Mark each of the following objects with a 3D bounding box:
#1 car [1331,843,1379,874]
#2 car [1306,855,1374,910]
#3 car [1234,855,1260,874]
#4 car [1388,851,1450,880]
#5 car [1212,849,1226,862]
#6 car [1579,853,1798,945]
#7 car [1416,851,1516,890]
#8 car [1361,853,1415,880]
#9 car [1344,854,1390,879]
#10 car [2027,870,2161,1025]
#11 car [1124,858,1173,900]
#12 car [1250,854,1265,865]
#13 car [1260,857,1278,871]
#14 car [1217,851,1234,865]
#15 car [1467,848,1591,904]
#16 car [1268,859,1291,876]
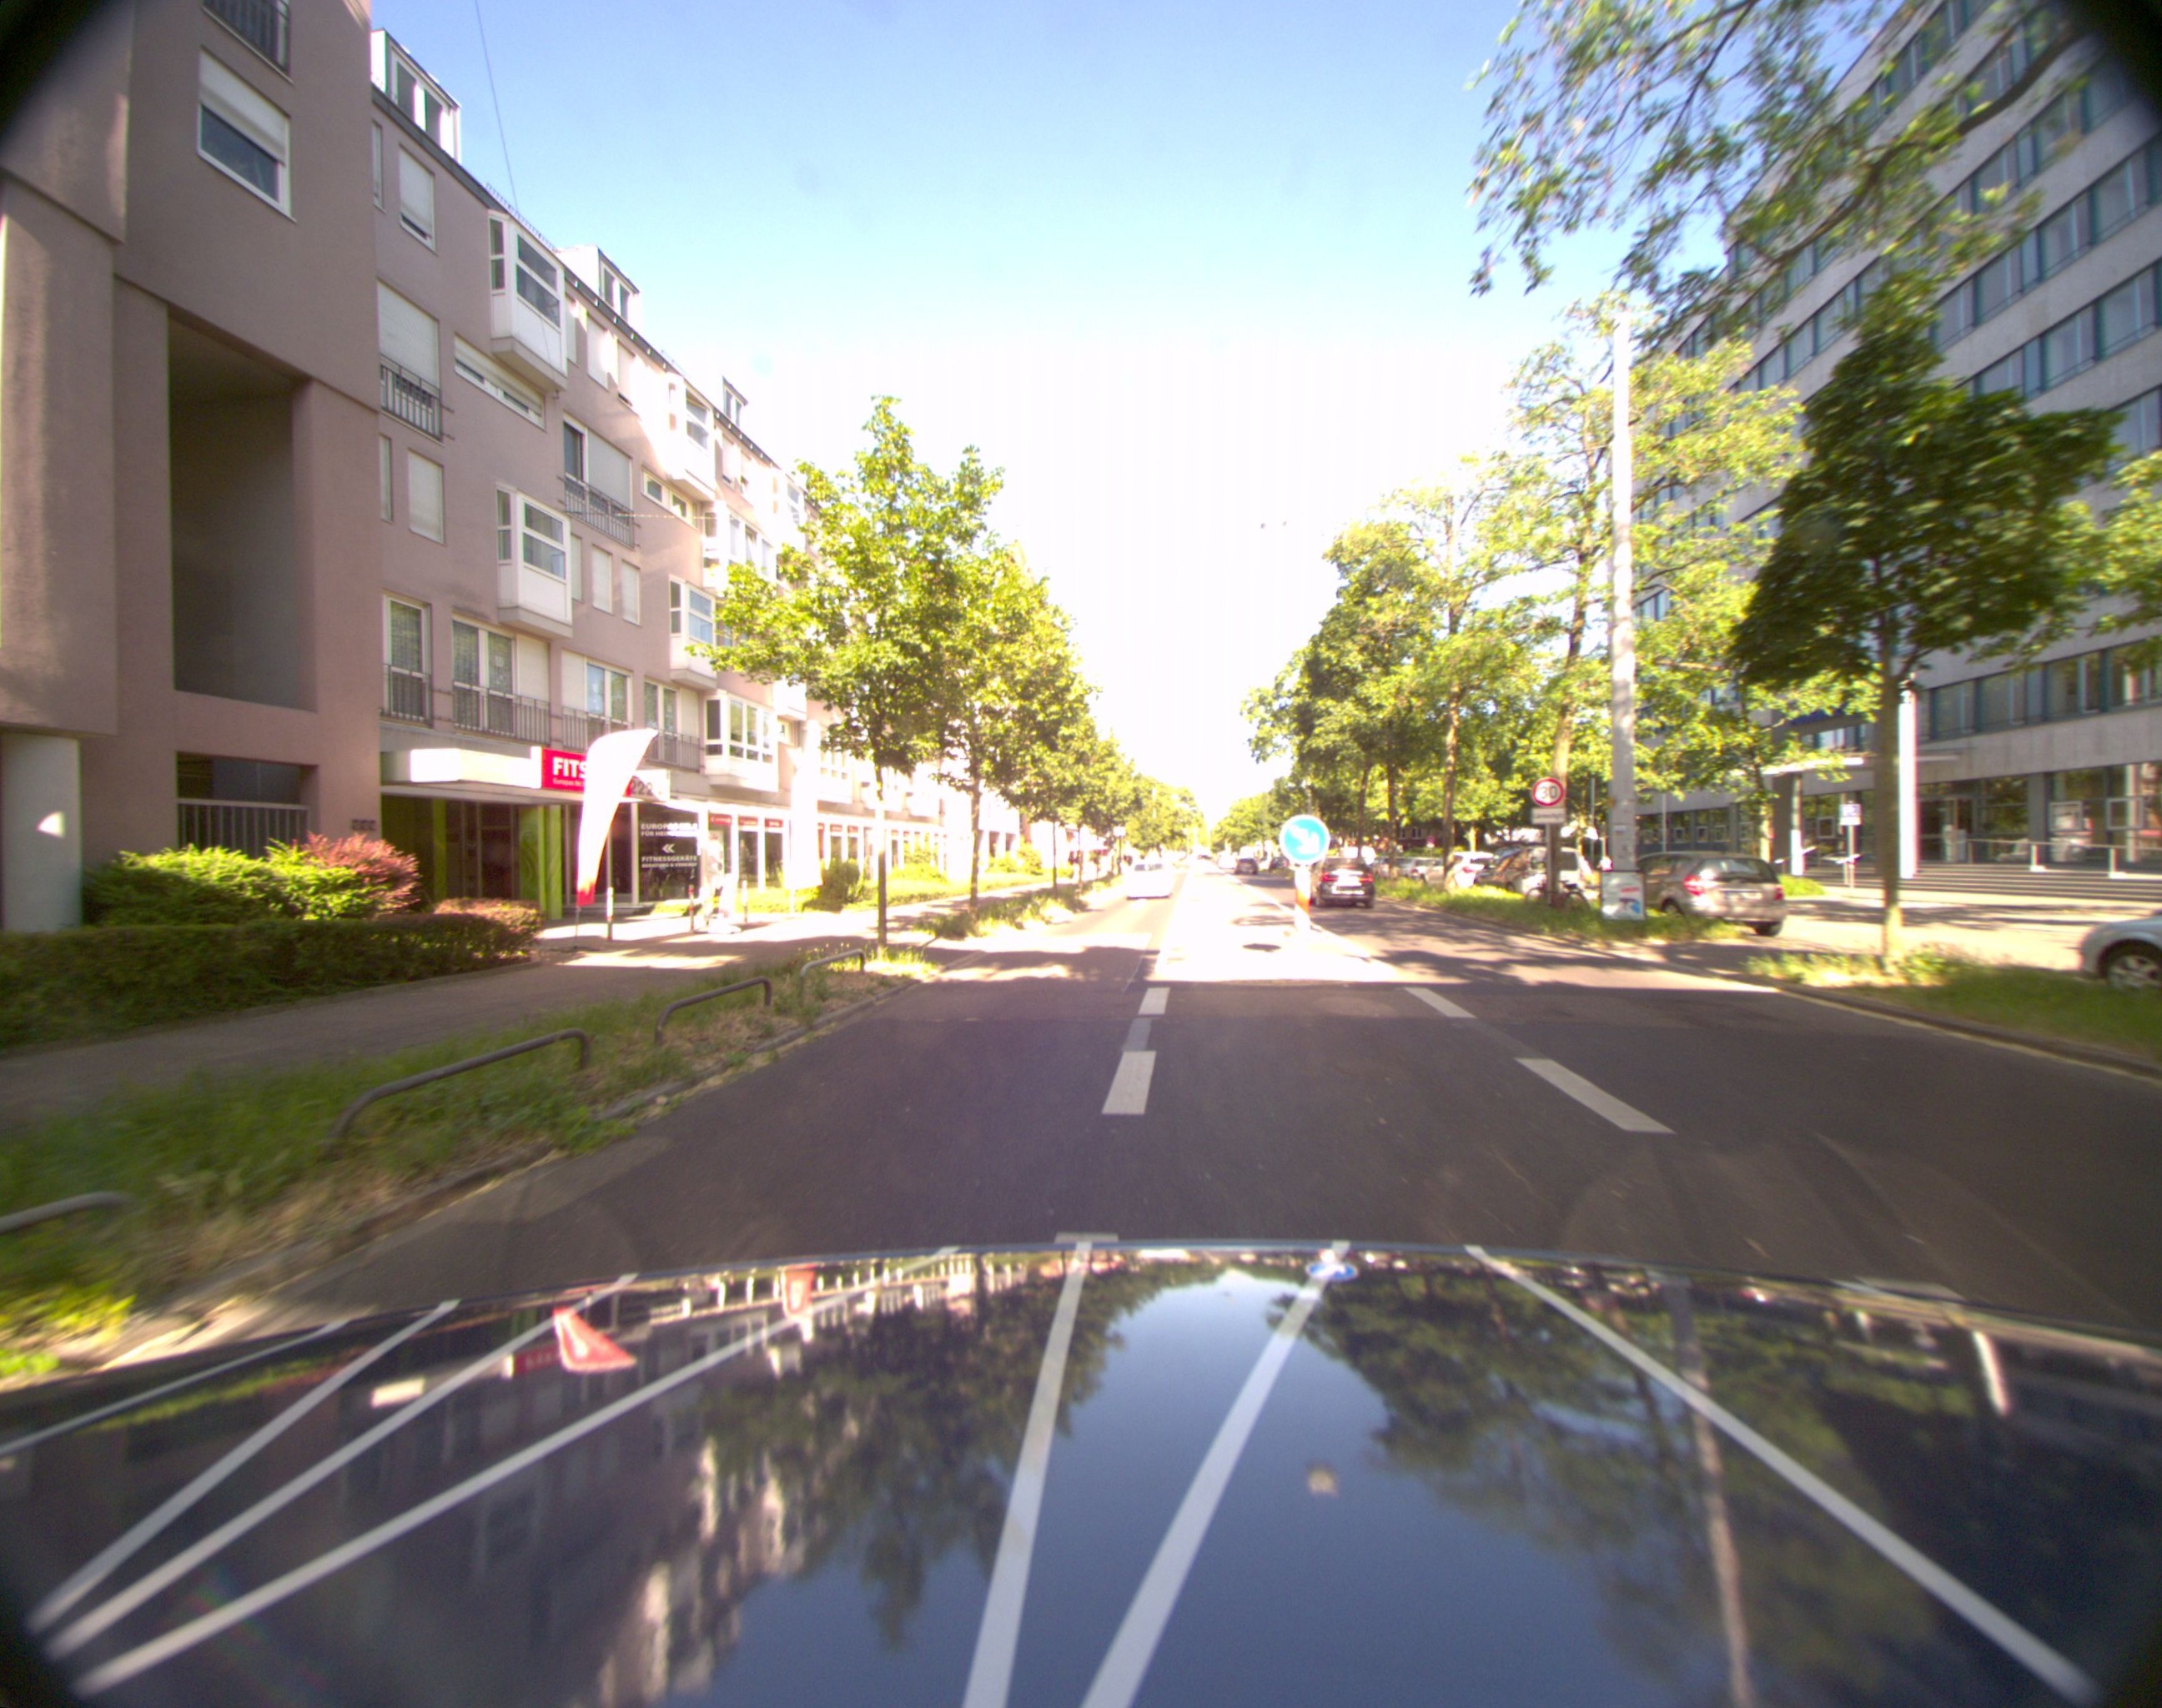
[{"bbox_3d":[17.965,0.293,50.041,2.069,1.898,4.528,-1,0,7],"label":"car"},{"bbox_3d":[7.673,0.795,22.706,1.469,1.518,2.818,0,0,9],"label":"car"},{"bbox_3d":[13.820,0.849,63.467,1.790,1.414,4.191,1,0,8],"label":"car"},{"bbox_3d":[15.099,0.485,34.132,1.654,1.219,3.850,-1,0,10],"label":"car"},{"bbox_3d":[22.448,0.264,123.789,2.168,2.002,4.414,-1,0,10],"label":"car"},{"bbox_3d":[12.297,0.807,15.778,1.776,1.637,4.086,0,0,9],"label":"car"},{"bbox_3d":[14.625,0.579,29.176,1.720,1.375,4.493,-1,0,3],"label":"car"},{"bbox_3d":[15.970,0.629,39.676,1.655,1.336,3.971,-1,0,7],"label":"car"},{"bbox_3d":[16.808,0.709,44.824,1.678,1.325,4.191,-1,0,9],"label":"car"},{"bbox_3d":[10.943,0.945,6.078,1.655,1.440,4.284,3,1,7],"label":"car"},{"bbox_3d":[2.713,0.929,29.866,1.662,1.521,4.102,-1,0,8],"label":"car"},{"bbox_3d":[22.678,0.719,97.592,1.604,1.406,4.003,-1,0,9],"label":"car"},{"bbox_3d":[20.389,1.048,82.658,1.604,1.406,4.003,-1,0,9],"label":"car"},{"bbox_3d":[17.389,0.439,91.311,1.791,1.575,4.191,-1,0,8],"label":"car"},{"bbox_3d":[13.618,0.617,23.422,1.733,1.540,4.451,-1,0,8],"label":"car"},{"bbox_3d":[18.670,1.234,71.516,1.739,1.481,4.003,-1,0,9],"label":"car"}]
